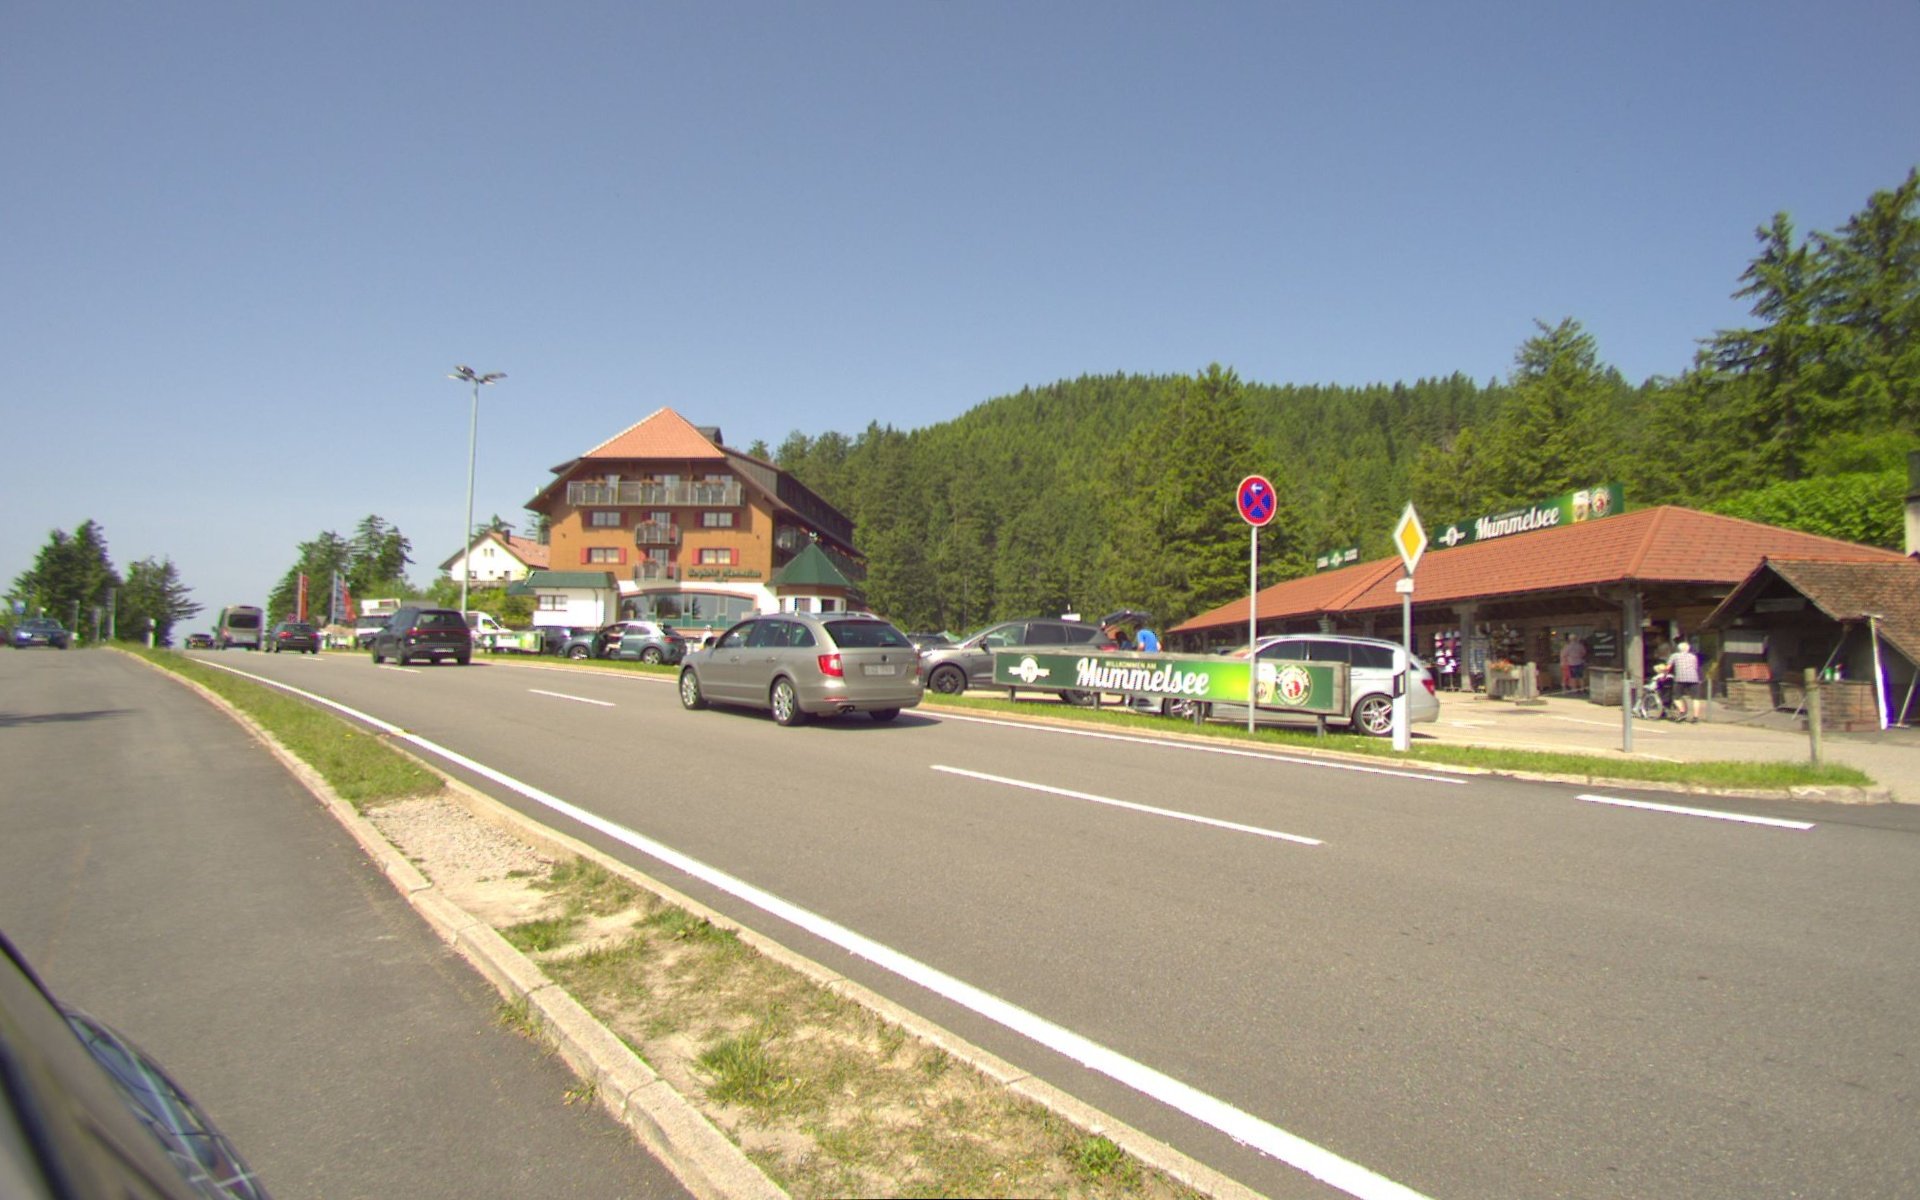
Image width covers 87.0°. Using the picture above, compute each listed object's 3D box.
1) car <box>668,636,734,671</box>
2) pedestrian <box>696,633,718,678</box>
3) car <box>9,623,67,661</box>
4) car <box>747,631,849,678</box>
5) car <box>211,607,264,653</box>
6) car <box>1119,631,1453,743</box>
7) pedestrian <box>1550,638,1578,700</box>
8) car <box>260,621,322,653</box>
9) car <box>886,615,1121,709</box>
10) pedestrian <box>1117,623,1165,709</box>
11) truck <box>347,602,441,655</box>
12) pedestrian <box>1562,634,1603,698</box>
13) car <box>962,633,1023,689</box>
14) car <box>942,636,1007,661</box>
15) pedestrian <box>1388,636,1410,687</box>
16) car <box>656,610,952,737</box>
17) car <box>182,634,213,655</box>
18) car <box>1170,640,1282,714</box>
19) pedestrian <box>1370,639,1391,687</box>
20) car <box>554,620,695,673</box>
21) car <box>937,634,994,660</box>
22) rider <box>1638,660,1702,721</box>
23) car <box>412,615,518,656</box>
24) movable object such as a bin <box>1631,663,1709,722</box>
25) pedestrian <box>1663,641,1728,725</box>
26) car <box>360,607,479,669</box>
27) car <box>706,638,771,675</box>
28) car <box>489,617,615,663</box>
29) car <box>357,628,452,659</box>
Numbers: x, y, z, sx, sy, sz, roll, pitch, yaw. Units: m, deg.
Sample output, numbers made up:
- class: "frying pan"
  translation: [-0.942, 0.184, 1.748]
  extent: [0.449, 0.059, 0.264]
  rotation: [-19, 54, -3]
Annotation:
- class: "car"
  translation: [-11.903, 2.451, 46.746]
  extent: [1.800, 1.524, 4.090]
  rotation: [2, -2, 3]
- class: "pedestrian"
  translation: [-9.388, 2.048, 37.549]
  extent: [0.734, 1.637, 0.685]
  rotation: [2, -2, -12]
- class: "car"
  translation: [-42.133, 1.909, 46.287]
  extent: [1.847, 1.627, 3.918]
  rotation: [3, -3, -42]
- class: "car"
  translation: [-5.561, 1.828, 34.387]
  extent: [1.694, 1.441, 4.008]
  rotation: [4, -3, -37]
- class: "car"
  translation: [-45.669, 1.867, 63.930]
  extent: [1.987, 2.772, 5.924]
  rotation: [3, -3, -42]
- class: "car"
  translation: [4.771, 1.269, 15.260]
  extent: [4.441, 1.441, 1.721]
  rotation: [2, -3, 2]
- class: "pedestrian"
  translation: [17.428, 1.979, 29.198]
  extent: [0.662, 1.750, 0.556]
  rotation: [3, -3, -44]
- class: "car"
  translation: [-31.755, 1.734, 47.989]
  extent: [1.685, 1.449, 4.454]
  rotation: [3, -3, -43]
- class: "car"
  translation: [0.824, 1.229, 20.293]
  extent: [4.488, 1.668, 1.722]
  rotation: [2, -3, 0]
- class: "pedestrian"
  translation: [3.581, 1.301, 20.089]
  extent: [0.735, 1.648, 0.847]
  rotation: [1, -2, -2]
- class: "truck"
  translation: [-43.350, 2.228, 77.873]
  extent: [2.840, 3.850, 9.026]
  rotation: [0, -2, -5]
- class: "pedestrian"
  translation: [17.404, 1.828, 28.318]
  extent: [0.741, 1.750, 0.800]
  rotation: [1, -2, 11]
- class: "car"
  translation: [1.053, 2.024, 34.174]
  extent: [1.894, 1.729, 4.093]
  rotation: [2, -2, 1]
- class: "car"
  translation: [1.113, 3.667, 76.887]
  extent: [4.781, 1.729, 1.919]
  rotation: [2, -3, 2]
- class: "pedestrian"
  translation: [14.811, 2.069, 34.151]
  extent: [0.500, 1.668, 0.472]
  rotation: [1, -2, -7]
- class: "car"
  translation: [-2.356, 0.910, 14.247]
  extent: [1.856, 1.485, 4.720]
  rotation: [1, -2, -42]
- class: "car"
  translation: [-64.548, 3.775, 85.618]
  extent: [1.695, 1.695, 4.135]
  rotation: [3, -3, -42]
- class: "car"
  translation: [6.880, 1.956, 26.595]
  extent: [1.894, 1.729, 4.092]
  rotation: [2, -2, 1]
- class: "pedestrian"
  translation: [14.702, 2.199, 35.382]
  extent: [0.500, 1.668, 0.472]
  rotation: [1, -2, -7]
- class: "car"
  translation: [-11.516, 1.591, 34.893]
  extent: [4.212, 1.641, 1.823]
  rotation: [2, -3, 1]
- class: "car"
  translation: [0.426, 3.376, 72.846]
  extent: [4.040, 1.729, 1.919]
  rotation: [2, -3, 2]
- class: "rider"
  translation: [15.598, 1.974, 22.248]
  extent: [0.830, 1.284, 0.906]
  rotation: [1, -2, 11]
- class: "car"
  translation: [-36.248, 2.618, 74.400]
  extent: [6.844, 2.812, 2.676]
  rotation: [2, -3, -23]
- class: "movable object such as a bin"
  translation: [15.627, 2.012, 22.314]
  extent: [0.973, 1.198, 1.212]
  rotation: [1, -2, 11]
- class: "pedestrian"
  translation: [15.475, 1.719, 21.319]
  extent: [0.830, 1.712, 0.800]
  rotation: [1, -2, 11]
- class: "car"
  translation: [-15.854, 1.104, 29.582]
  extent: [1.969, 1.660, 4.573]
  rotation: [3, -3, -42]
- class: "car"
  translation: [-9.799, 2.476, 45.041]
  extent: [1.800, 1.524, 4.090]
  rotation: [2, -2, 3]
- class: "car"
  translation: [-16.102, 1.587, 40.078]
  extent: [4.212, 1.641, 1.823]
  rotation: [2, -3, 1]
- class: "car"
  translation: [-29.950, 2.344, 54.661]
  extent: [4.034, 1.539, 1.825]
  rotation: [2, -3, -3]
